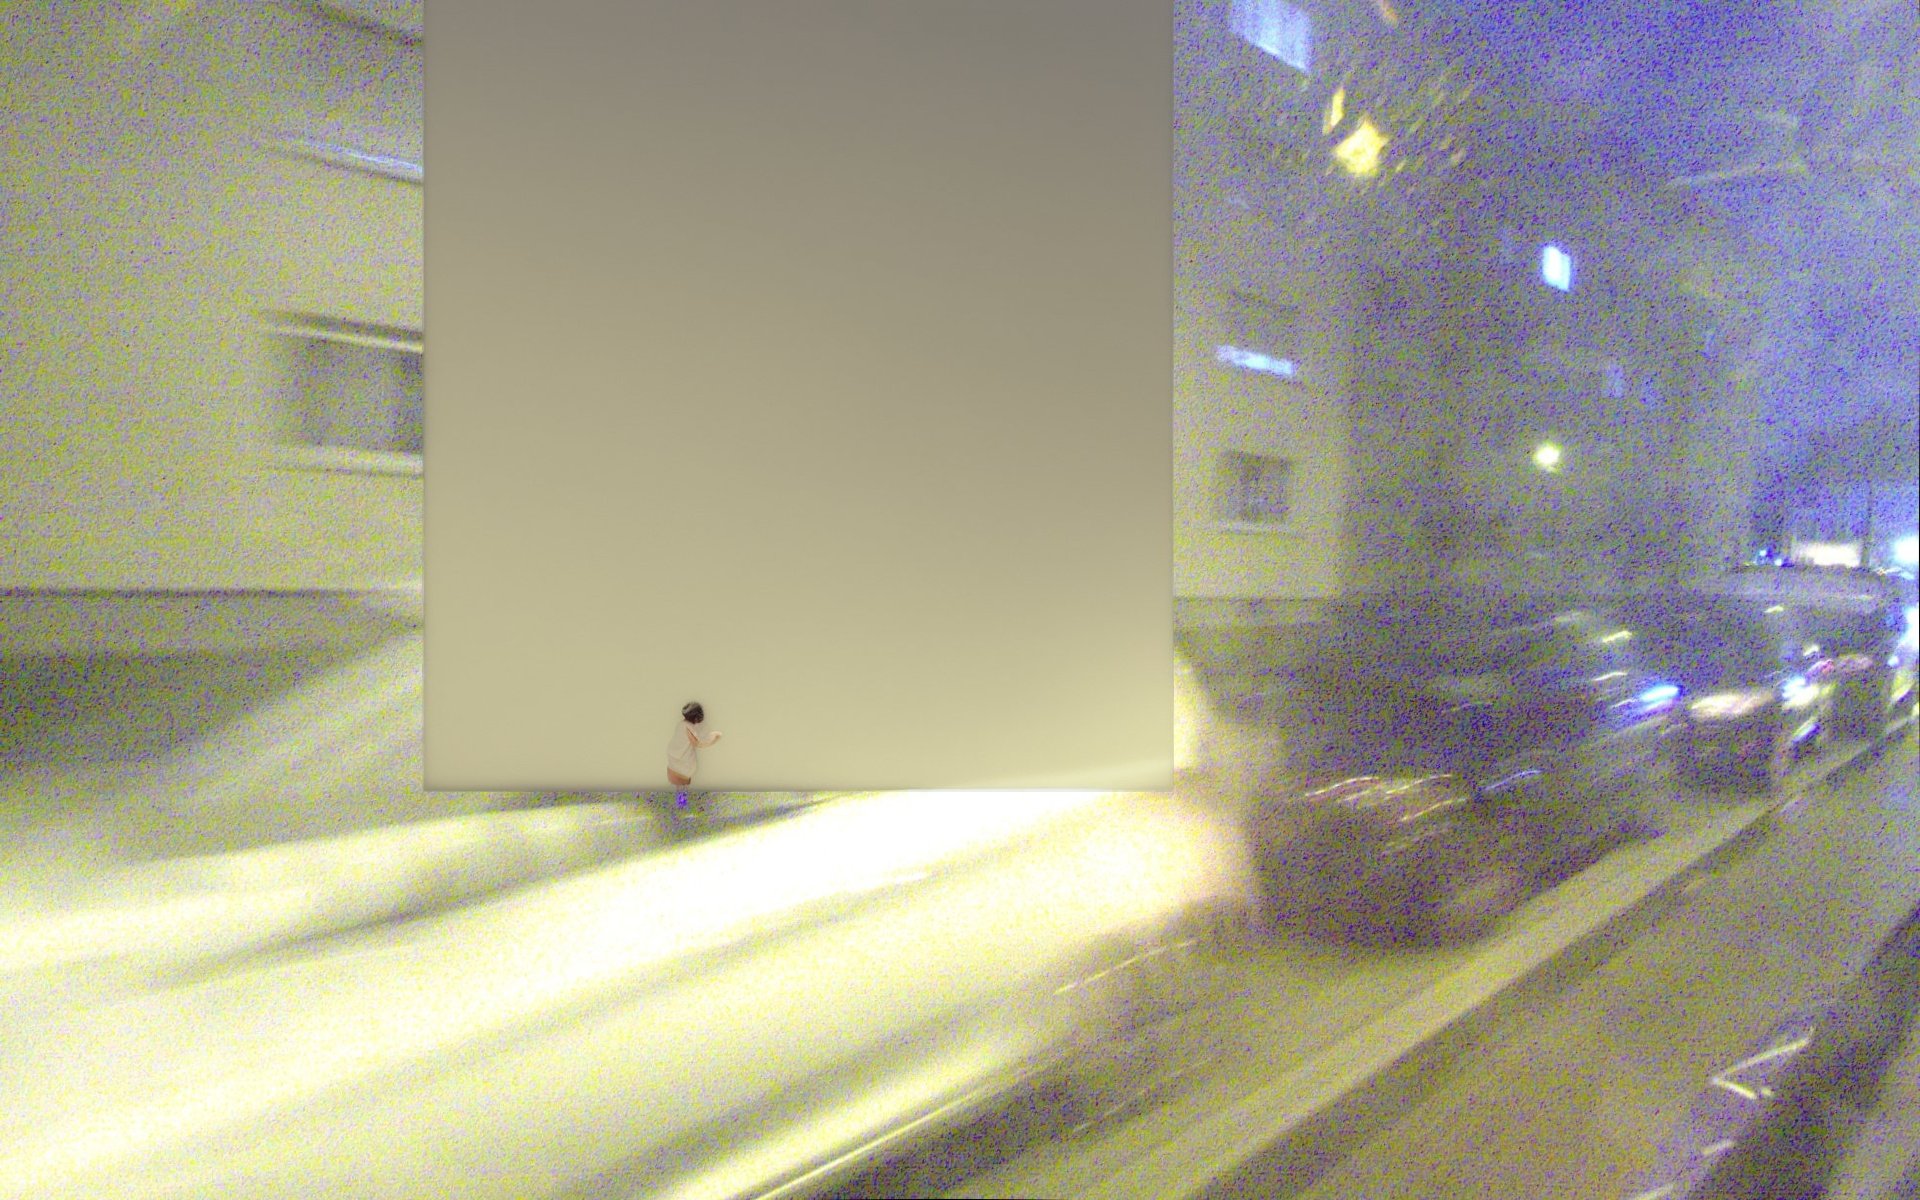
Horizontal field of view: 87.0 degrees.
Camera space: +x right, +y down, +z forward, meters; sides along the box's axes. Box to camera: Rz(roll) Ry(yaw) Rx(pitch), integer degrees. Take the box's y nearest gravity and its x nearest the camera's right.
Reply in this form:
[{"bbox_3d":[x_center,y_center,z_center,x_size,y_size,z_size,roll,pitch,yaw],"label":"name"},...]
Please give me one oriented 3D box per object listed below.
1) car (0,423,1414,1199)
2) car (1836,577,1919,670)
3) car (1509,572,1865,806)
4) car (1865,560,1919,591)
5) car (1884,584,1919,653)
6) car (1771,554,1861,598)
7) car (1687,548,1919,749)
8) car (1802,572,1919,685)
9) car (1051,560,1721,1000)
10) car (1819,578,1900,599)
[{"bbox_3d":[-0.569,0.515,2.660,4.207,1.506,1.677,0,3,-43],"label":"car"},{"bbox_3d":[18.513,0.417,19.618,4.669,1.598,1.870,0,3,-44],"label":"car"},{"bbox_3d":[6.497,0.575,8.863,4.061,1.509,1.797,0,3,-44],"label":"car"},{"bbox_3d":[69.910,-1.820,74.893,1.767,2.195,4.030,1,3,-34],"label":"car"},{"bbox_3d":[23.795,0.443,24.504,3.886,1.566,1.797,0,3,-44],"label":"car"},{"bbox_3d":[55.191,-1.599,65.296,1.767,2.650,4.030,1,3,-34],"label":"car"},{"bbox_3d":[10.947,0.443,12.792,5.758,1.974,1.797,0,3,-44],"label":"car"},{"bbox_3d":[14.951,0.404,16.201,3.886,1.566,1.797,0,3,-44],"label":"car"},{"bbox_3d":[2.594,0.586,5.566,4.207,1.465,1.798,0,3,-43],"label":"car"},{"bbox_3d":[64.893,-0.840,73.029,1.767,1.284,4.030,1,3,-34],"label":"car"}]
